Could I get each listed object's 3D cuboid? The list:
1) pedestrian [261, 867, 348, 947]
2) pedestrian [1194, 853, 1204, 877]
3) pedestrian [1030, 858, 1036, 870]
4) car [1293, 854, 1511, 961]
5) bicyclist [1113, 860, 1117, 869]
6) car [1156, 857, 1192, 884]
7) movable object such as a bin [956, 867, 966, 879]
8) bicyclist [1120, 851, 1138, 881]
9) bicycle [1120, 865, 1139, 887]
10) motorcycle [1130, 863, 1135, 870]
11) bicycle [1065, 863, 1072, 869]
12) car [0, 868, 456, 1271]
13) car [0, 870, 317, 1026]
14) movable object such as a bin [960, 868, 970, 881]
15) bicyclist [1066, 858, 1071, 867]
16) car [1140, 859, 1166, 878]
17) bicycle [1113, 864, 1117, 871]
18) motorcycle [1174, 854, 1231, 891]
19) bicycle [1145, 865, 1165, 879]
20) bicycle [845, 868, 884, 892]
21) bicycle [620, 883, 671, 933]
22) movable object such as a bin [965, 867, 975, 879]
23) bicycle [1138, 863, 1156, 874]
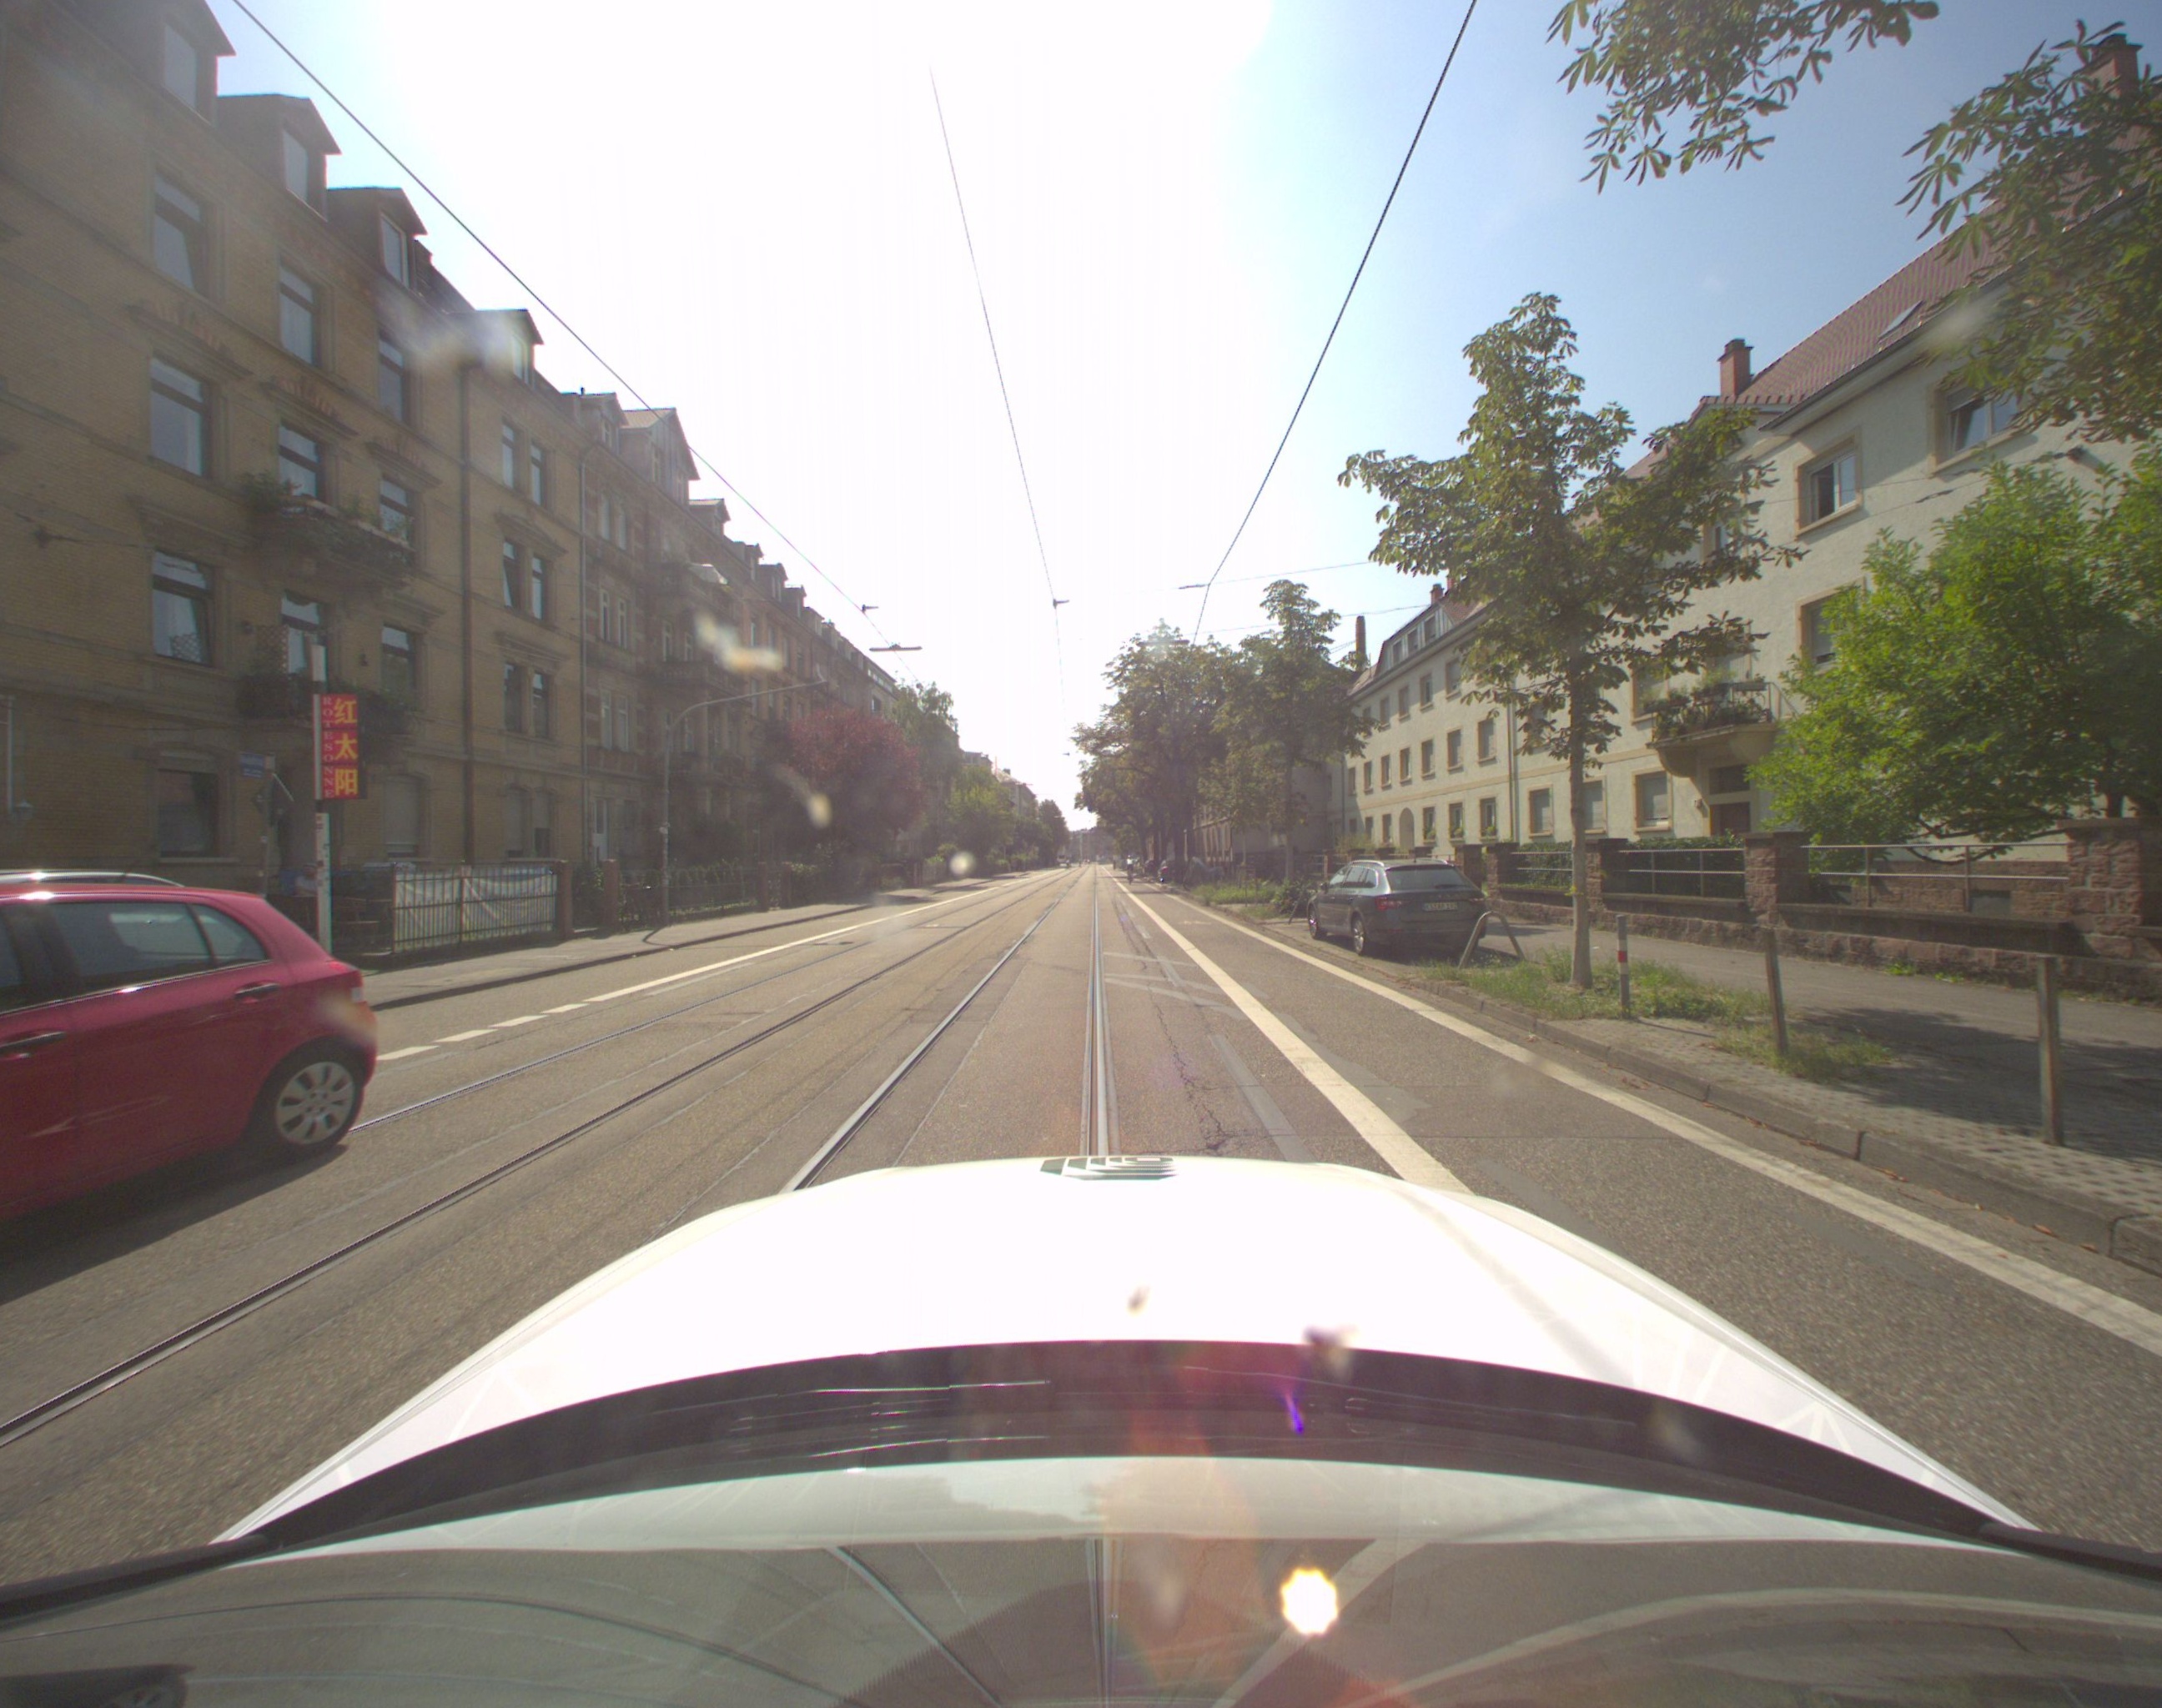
[{"bbox_3d":[-15.307,1.026,16.077,0.866,1.511,0.884,-1,-1,-8],"label":"pedestrian"},{"bbox_3d":[9.614,0.887,66.179,0.703,1.892,0.714,-1,-1,2],"label":"pedestrian"},{"bbox_3d":[-7.375,1.520,125.540,0.777,1.756,1.040,-2,-1,1],"label":"pedestrian"},{"bbox_3d":[5.209,0.779,14.041,1.886,1.477,4.840,-1,-1,1],"label":"car"},{"bbox_3d":[4.912,1.532,117.940,0.576,1.279,0.472,-1,-1,3],"label":"bicyclist"},{"bbox_3d":[5.932,1.039,52.120,1.834,1.532,4.115,-2,1,1],"label":"car"},{"bbox_3d":[-10.907,1.729,73.923,0.783,1.076,0.804,0,-1,4],"label":"movable object such as a bin"},{"bbox_3d":[3.002,0.772,51.052,1.121,1.837,0.956,-1,-1,1],"label":"bicyclist"},{"bbox_3d":[3.030,1.376,50.960,1.143,1.269,2.714,-1,-1,2],"label":"bicycle"},{"bbox_3d":[7.681,1.839,121.801,0.547,1.068,2.331,-1,-1,1],"label":"motorcycle"},{"bbox_3d":[-1.930,1.858,127.423,0.754,0.991,2.303,-1,-1,9],"label":"bicycle"},{"bbox_3d":[-4.956,0.853,3.280,1.726,1.490,4.000,-2,0,0],"label":"car"},{"bbox_3d":[-12.389,1.046,10.009,1.989,1.594,4.355,-1,-1,-3],"label":"car"},{"bbox_3d":[-9.978,1.761,69.889,0.784,1.076,0.754,0,-1,-1],"label":"movable object such as a bin"},{"bbox_3d":[-1.944,1.395,127.376,0.754,1.392,0.781,-1,-1,9],"label":"bicyclist"},{"bbox_3d":[6.104,1.210,69.689,1.834,1.532,4.779,-2,-1,1],"label":"car"},{"bbox_3d":[4.929,1.945,118.023,0.585,0.939,2.173,-1,-1,3],"label":"bicycle"},{"bbox_3d":[5.418,0.851,36.438,2.316,1.540,0.975,-5,-3,42],"label":"motorcycle"},{"bbox_3d":[5.950,1.468,65.479,1.597,1.104,0.399,-1,-1,7],"label":"bicycle"},{"bbox_3d":[-11.053,1.329,41.626,1.805,1.182,0.717,0,-1,2],"label":"bicycle"},{"bbox_3d":[-10.315,1.256,19.321,0.389,1.099,1.567,-1,0,-1],"label":"bicycle"},{"bbox_3d":[-10.091,1.748,73.932,0.783,1.076,0.804,0,-1,4],"label":"movable object such as a bin"},{"bbox_3d":[6.509,1.429,79.881,1.706,1.032,0.566,-1,-1,1],"label":"bicycle"}]
